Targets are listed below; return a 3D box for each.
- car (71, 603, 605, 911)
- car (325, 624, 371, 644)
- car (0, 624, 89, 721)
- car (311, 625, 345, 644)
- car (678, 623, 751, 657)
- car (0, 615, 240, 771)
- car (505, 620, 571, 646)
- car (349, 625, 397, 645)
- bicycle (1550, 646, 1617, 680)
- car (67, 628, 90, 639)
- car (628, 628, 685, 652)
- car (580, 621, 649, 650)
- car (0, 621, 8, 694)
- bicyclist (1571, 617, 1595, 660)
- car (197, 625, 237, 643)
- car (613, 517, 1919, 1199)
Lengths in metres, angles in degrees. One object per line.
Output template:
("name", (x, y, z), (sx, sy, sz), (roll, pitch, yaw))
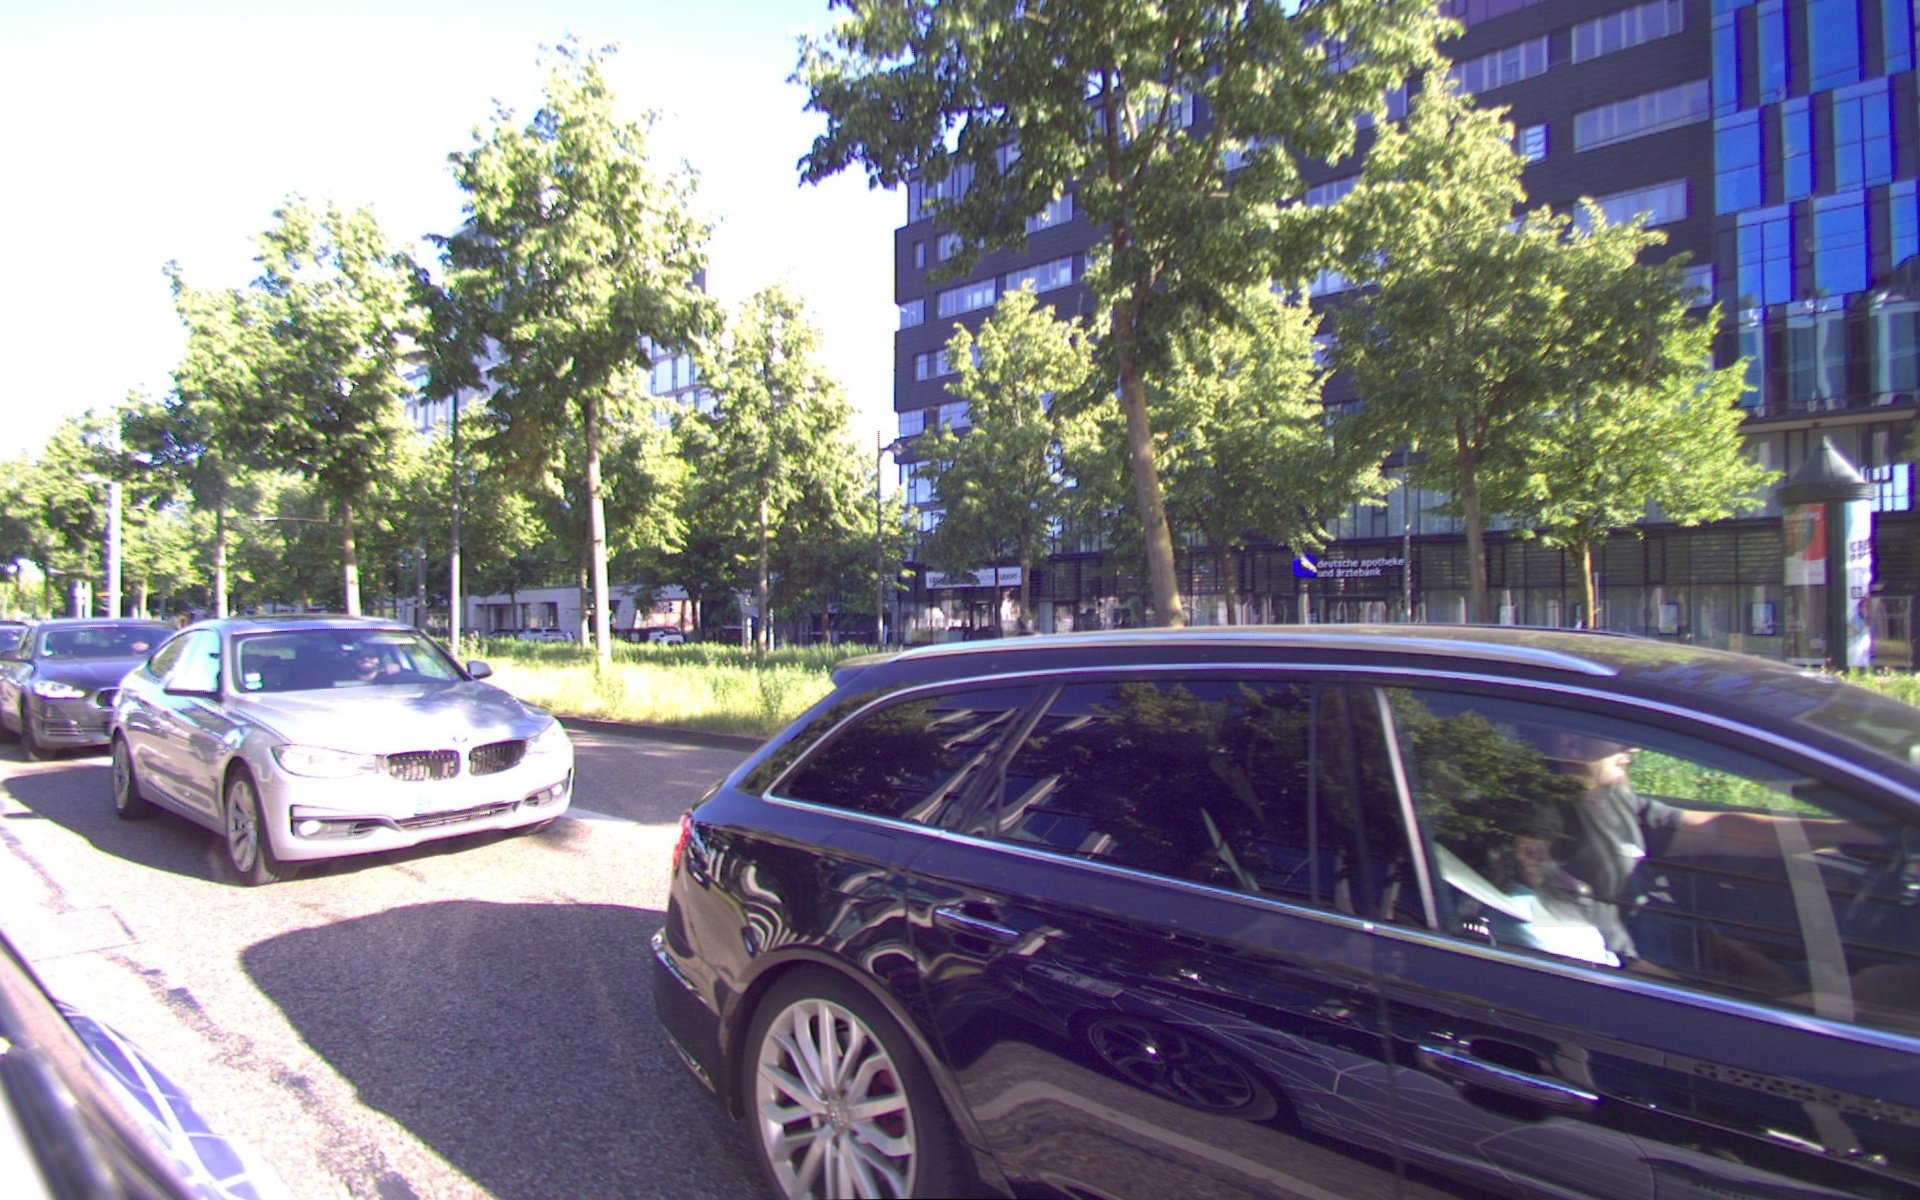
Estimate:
("car", (-4.608, 0.820, 7.155), (4.738, 1.500, 1.790), (-1, -2, 40))
("car", (-54.344, 3.029, 89.828), (4.787, 1.712, 1.987), (-1, -2, 39))
("car", (-16.098, 1.140, 16.891), (4.252, 1.465, 1.789), (-1, -2, 41))
("car", (-58.032, 3.133, 92.939), (3.741, 1.682, 1.581), (-1, -2, 41))
("car", (-13.305, 2.124, 54.759), (3.997, 1.762, 1.835), (-1, -2, 41))
("car", (-10.200, 0.965, 11.999), (4.026, 1.534, 1.789), (-1, -2, 41))
("car", (-28.514, 2.217, 68.330), (4.784, 1.712, 1.988), (-1, -2, 37))
("car", (-49.921, 2.959, 86.072), (4.787, 1.712, 1.987), (-1, -2, 39))
("bicycle", (20.641, 2.063, 33.531), (1.846, 1.041, 0.522), (-1, -1, 41))
("car", (-112.168, 4.249, 128.827), (3.997, 1.403, 1.645), (-1, -2, 41))
("car", (-19.905, 2.591, 66.313), (3.999, 1.516, 1.734), (-1, -2, 42))
("car", (-21.026, 2.126, 61.507), (4.789, 1.697, 1.835), (-1, -2, 41))
("car", (-23.007, 1.280, 22.879), (4.163, 1.602, 1.789), (-1, -2, 42))
("bicyclist", (20.641, 1.275, 33.531), (0.626, 1.416, 0.487), (-1, -1, 40))
("car", (-64.436, 2.923, 87.738), (4.732, 1.549, 1.835), (-1, -2, 41))
("car", (1.359, 0.665, 1.920), (4.505, 1.468, 1.789), (-1, -2, 40))
